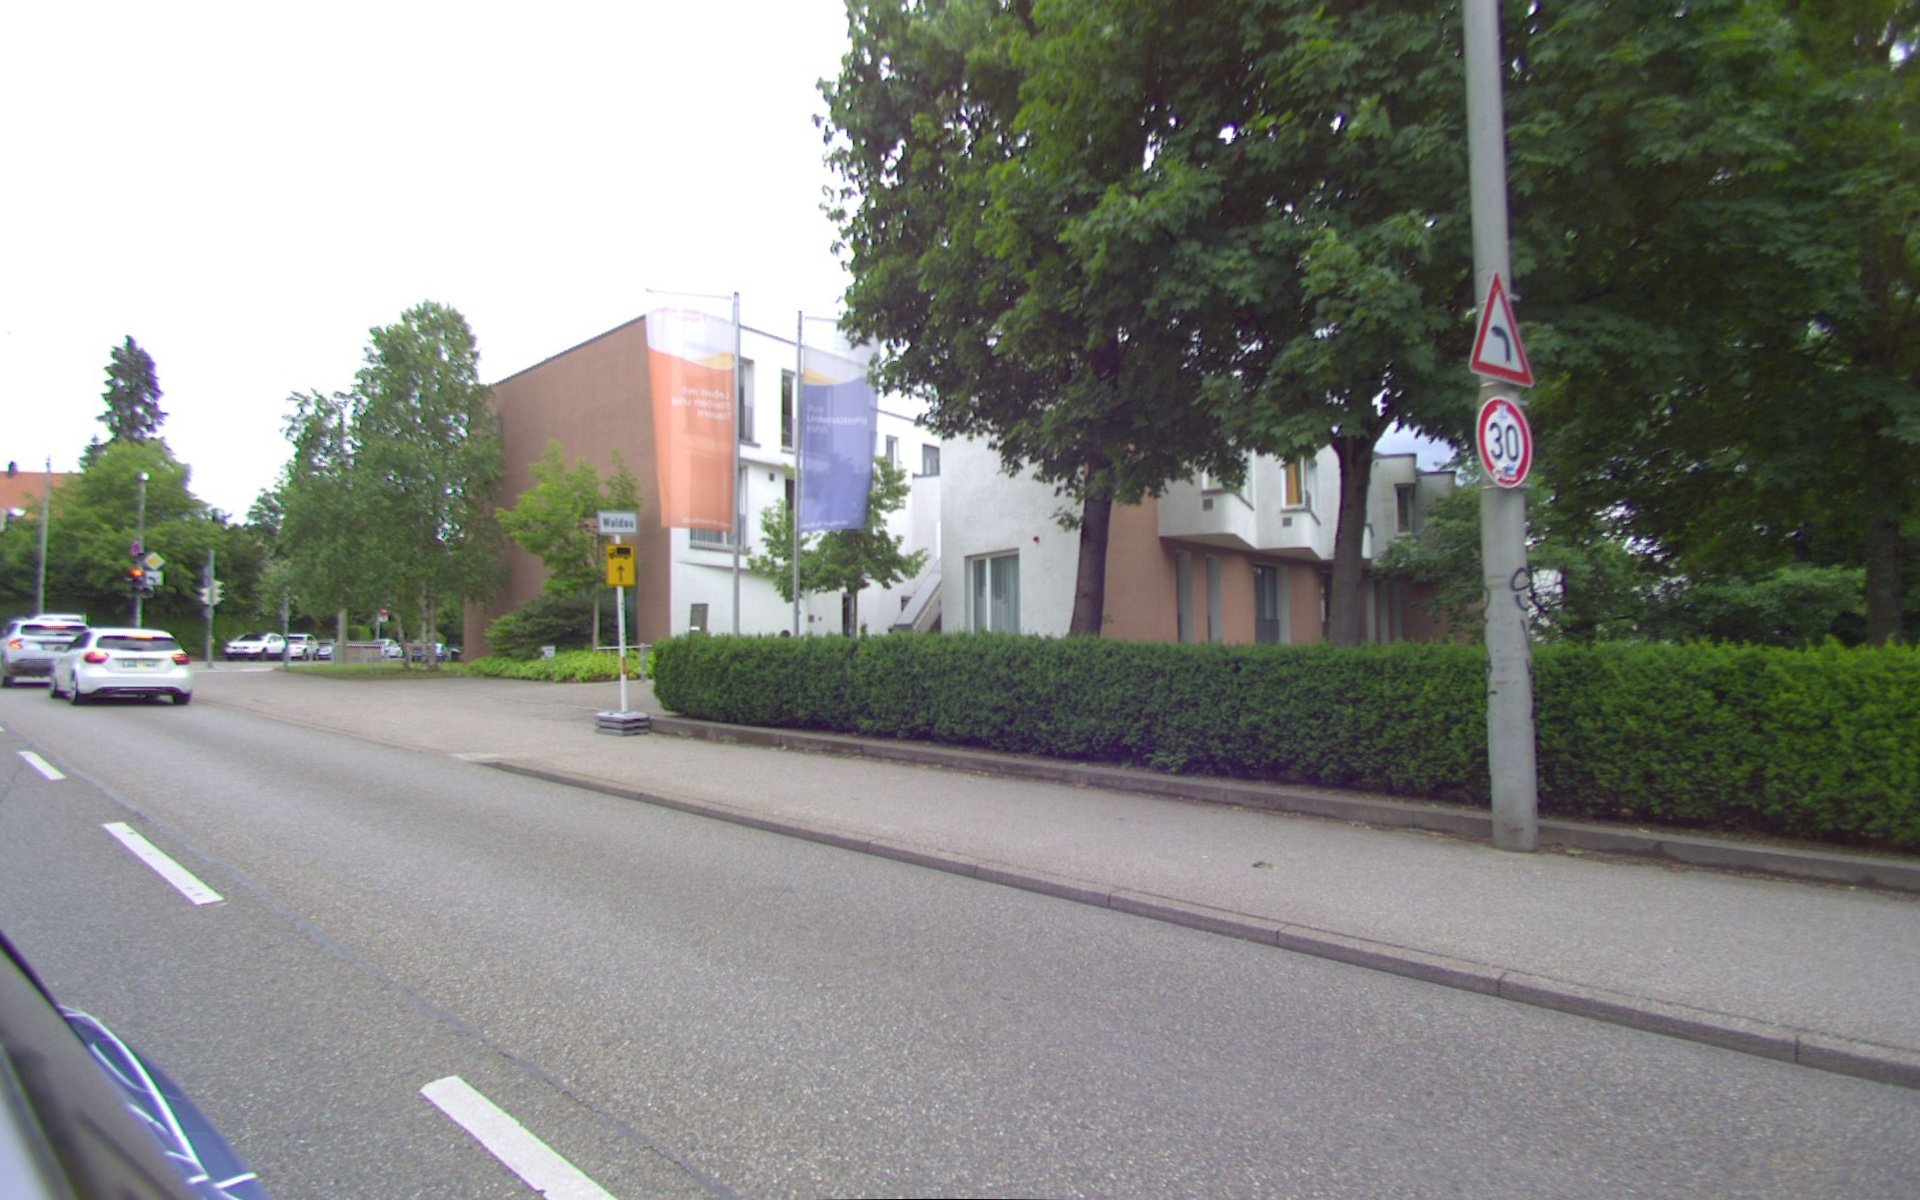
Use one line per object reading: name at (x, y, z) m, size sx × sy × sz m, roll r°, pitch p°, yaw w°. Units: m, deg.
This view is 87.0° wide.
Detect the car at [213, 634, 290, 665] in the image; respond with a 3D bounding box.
car at (-39.717, 2.788, 56.835) m, size 1.968 × 1.625 × 4.008 m, roll 2°, pitch -3°, yaw -10°

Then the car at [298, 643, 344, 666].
car at (-42.825, 3.619, 67.887) m, size 1.840 × 1.464 × 3.742 m, roll 1°, pitch -3°, yaw -20°

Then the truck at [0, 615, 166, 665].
truck at (-43.047, 1.980, 49.371) m, size 6.608 × 2.205 × 2.535 m, roll 4°, pitch -4°, yaw -37°

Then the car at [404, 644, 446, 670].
car at (-32.561, 3.458, 61.690) m, size 1.848 × 1.460 × 4.013 m, roll 3°, pitch -4°, yaw -23°

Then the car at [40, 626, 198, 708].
car at (-16.585, 1.275, 19.891) m, size 4.064 × 1.432 × 1.747 m, roll -1°, pitch -4°, yaw 42°

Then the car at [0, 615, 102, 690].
car at (-22.525, 1.265, 24.714) m, size 4.301 × 1.650 × 1.750 m, roll -1°, pitch -5°, yaw 42°

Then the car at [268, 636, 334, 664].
car at (-40.551, 3.065, 62.392) m, size 1.968 × 1.625 × 4.008 m, roll 2°, pitch -3°, yaw -10°
